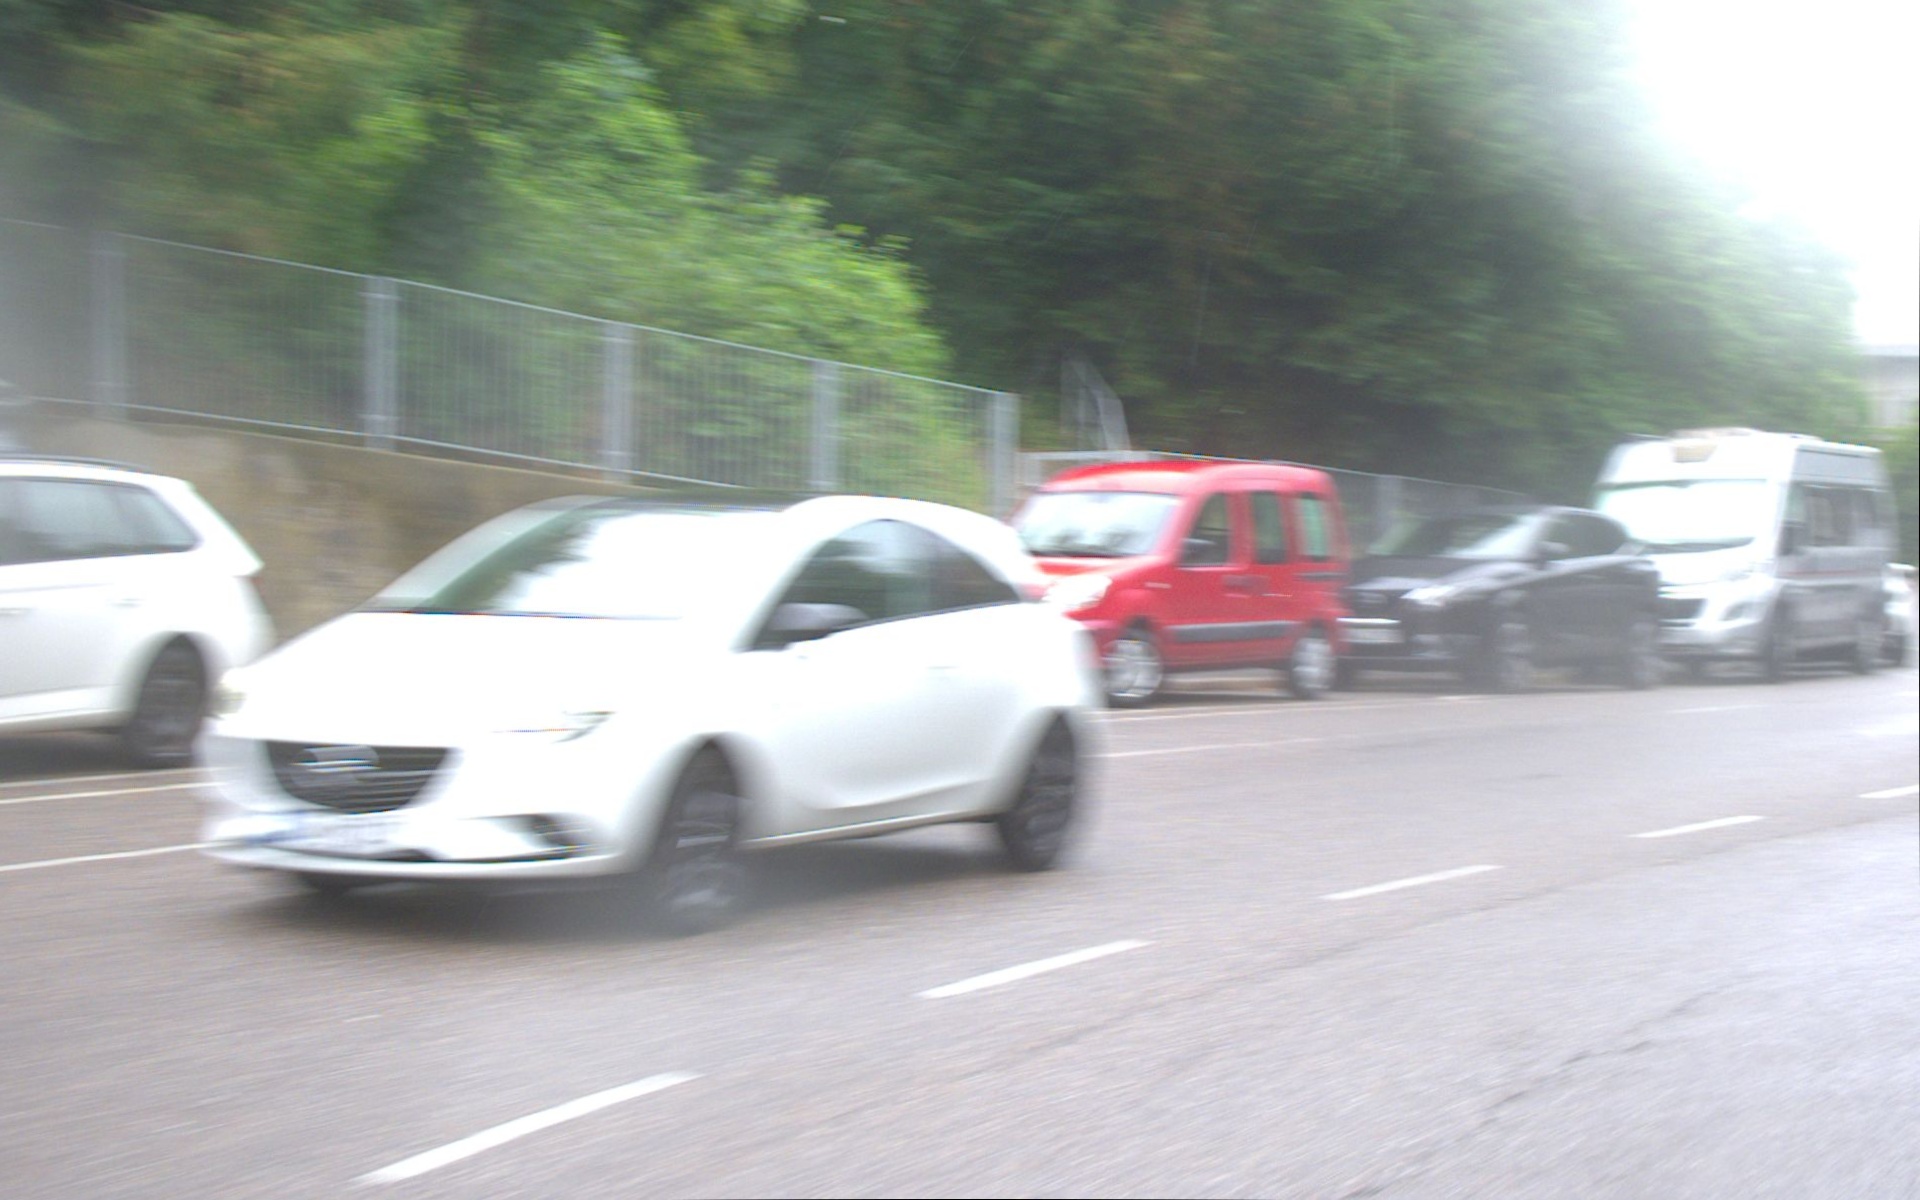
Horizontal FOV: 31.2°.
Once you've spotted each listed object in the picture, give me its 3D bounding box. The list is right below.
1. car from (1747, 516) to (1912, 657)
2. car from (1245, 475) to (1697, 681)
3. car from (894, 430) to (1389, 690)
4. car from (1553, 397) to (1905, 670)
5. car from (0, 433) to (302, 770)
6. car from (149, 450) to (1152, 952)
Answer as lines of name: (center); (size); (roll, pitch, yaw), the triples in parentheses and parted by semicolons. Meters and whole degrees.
car: (10.664, -0.154, 42.092); (1.805, 1.577, 4.022); (-2, -1, 15)
car: (4.454, -0.226, 29.470); (1.998, 1.614, 4.388); (2, 2, 36)
car: (1.435, -0.276, 25.542); (1.754, 1.762, 4.128); (1, 0, 34)
car: (8.008, -0.681, 35.230); (2.076, 2.541, 6.338); (-1, 1, 26)
car: (-5.077, -0.026, 15.687); (1.741, 1.474, 4.192); (4, 3, 29)
car: (-0.942, 0.243, 12.589); (1.605, 1.490, 4.026); (3, 3, 30)
